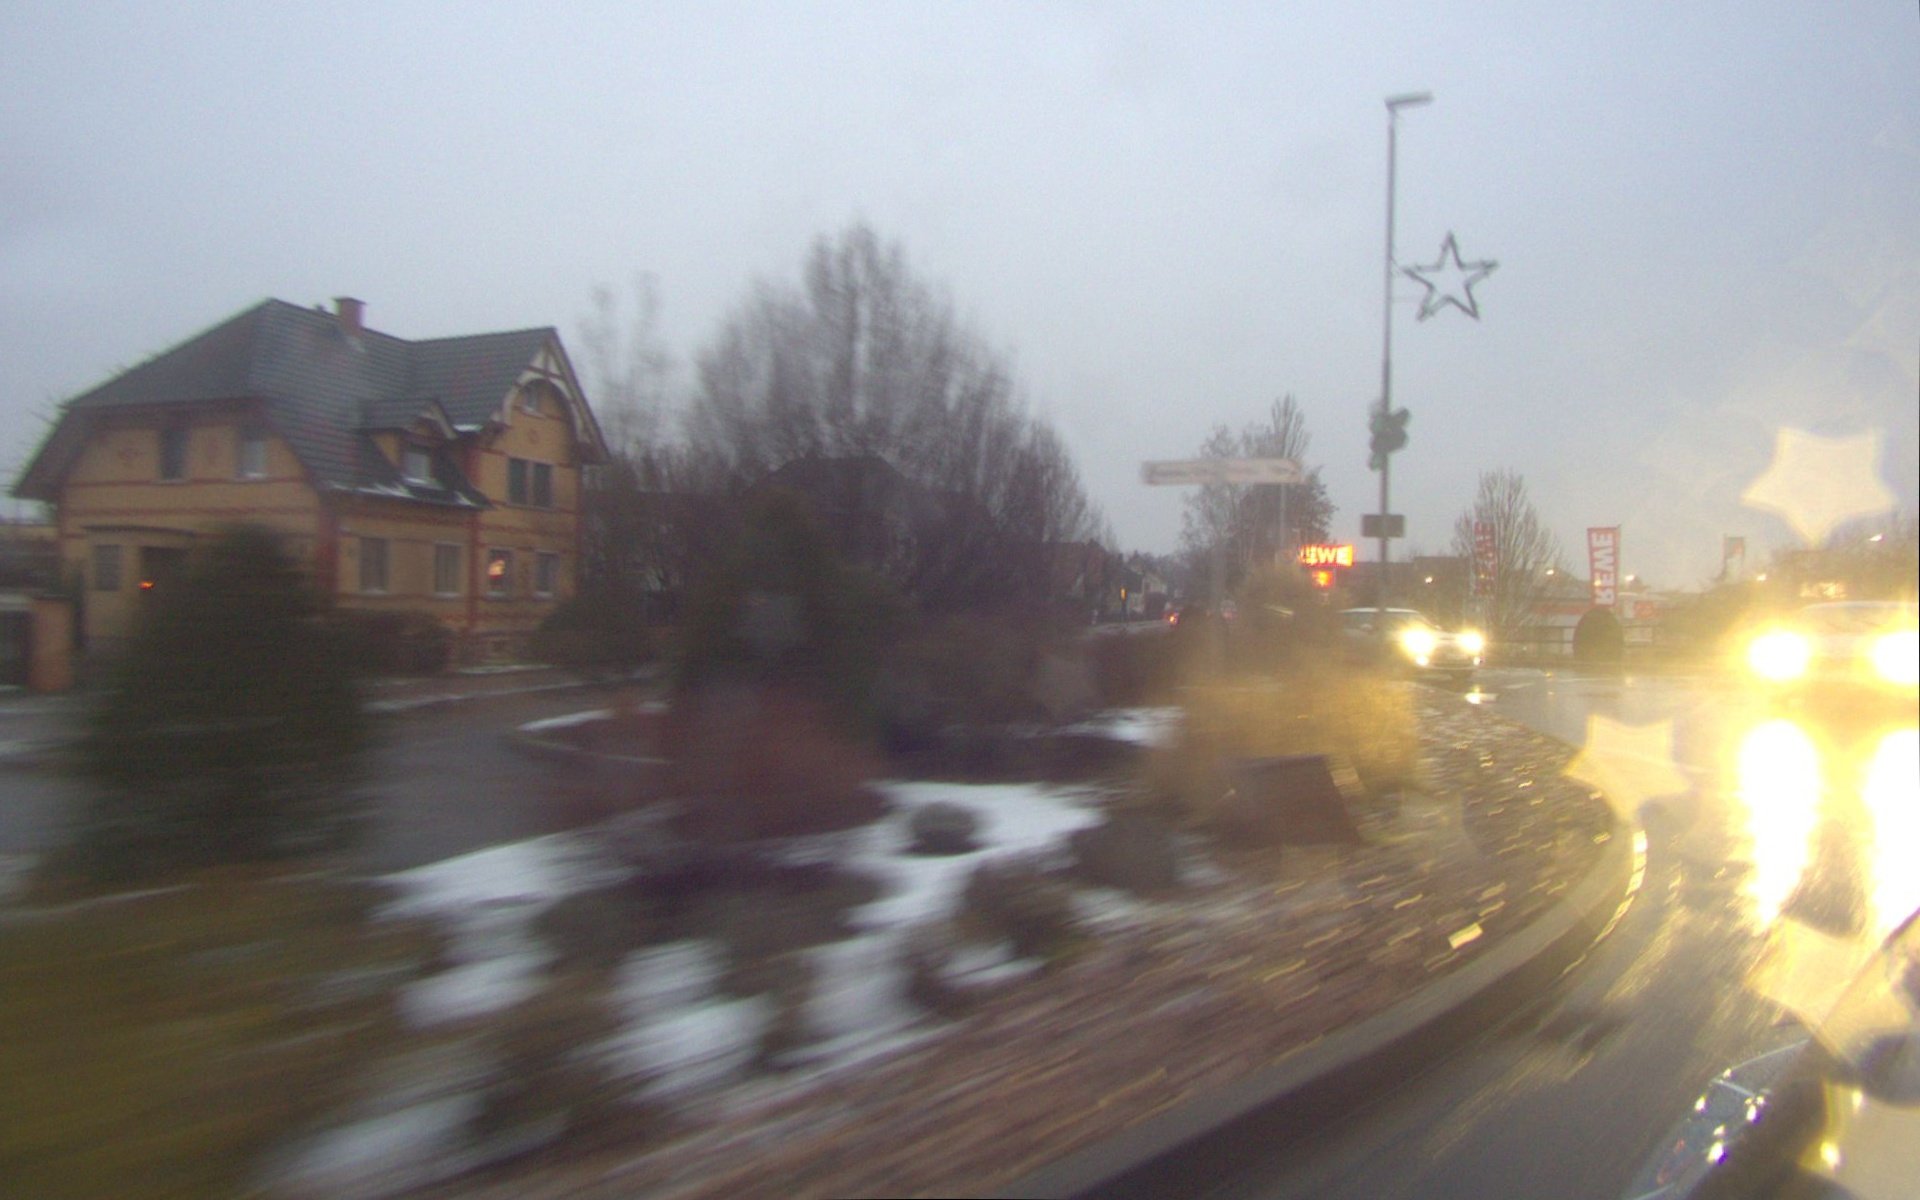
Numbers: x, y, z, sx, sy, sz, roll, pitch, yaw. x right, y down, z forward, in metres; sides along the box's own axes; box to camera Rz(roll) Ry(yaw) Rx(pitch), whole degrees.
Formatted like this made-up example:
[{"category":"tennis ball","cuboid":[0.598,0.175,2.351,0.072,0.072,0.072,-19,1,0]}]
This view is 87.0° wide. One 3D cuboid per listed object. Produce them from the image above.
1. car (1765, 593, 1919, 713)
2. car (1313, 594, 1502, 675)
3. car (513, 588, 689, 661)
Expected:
[{"category":"car","cuboid":[13.313,0.671,14.704,4.173,1.479,1.808,-1,0,-41]},{"category":"car","cuboid":[9.218,0.690,21.182,1.628,1.511,3.717,0,-1,-14]},{"category":"car","cuboid":[-10.558,0.625,30.302,2.335,1.888,5.306,2,1,16]}]
